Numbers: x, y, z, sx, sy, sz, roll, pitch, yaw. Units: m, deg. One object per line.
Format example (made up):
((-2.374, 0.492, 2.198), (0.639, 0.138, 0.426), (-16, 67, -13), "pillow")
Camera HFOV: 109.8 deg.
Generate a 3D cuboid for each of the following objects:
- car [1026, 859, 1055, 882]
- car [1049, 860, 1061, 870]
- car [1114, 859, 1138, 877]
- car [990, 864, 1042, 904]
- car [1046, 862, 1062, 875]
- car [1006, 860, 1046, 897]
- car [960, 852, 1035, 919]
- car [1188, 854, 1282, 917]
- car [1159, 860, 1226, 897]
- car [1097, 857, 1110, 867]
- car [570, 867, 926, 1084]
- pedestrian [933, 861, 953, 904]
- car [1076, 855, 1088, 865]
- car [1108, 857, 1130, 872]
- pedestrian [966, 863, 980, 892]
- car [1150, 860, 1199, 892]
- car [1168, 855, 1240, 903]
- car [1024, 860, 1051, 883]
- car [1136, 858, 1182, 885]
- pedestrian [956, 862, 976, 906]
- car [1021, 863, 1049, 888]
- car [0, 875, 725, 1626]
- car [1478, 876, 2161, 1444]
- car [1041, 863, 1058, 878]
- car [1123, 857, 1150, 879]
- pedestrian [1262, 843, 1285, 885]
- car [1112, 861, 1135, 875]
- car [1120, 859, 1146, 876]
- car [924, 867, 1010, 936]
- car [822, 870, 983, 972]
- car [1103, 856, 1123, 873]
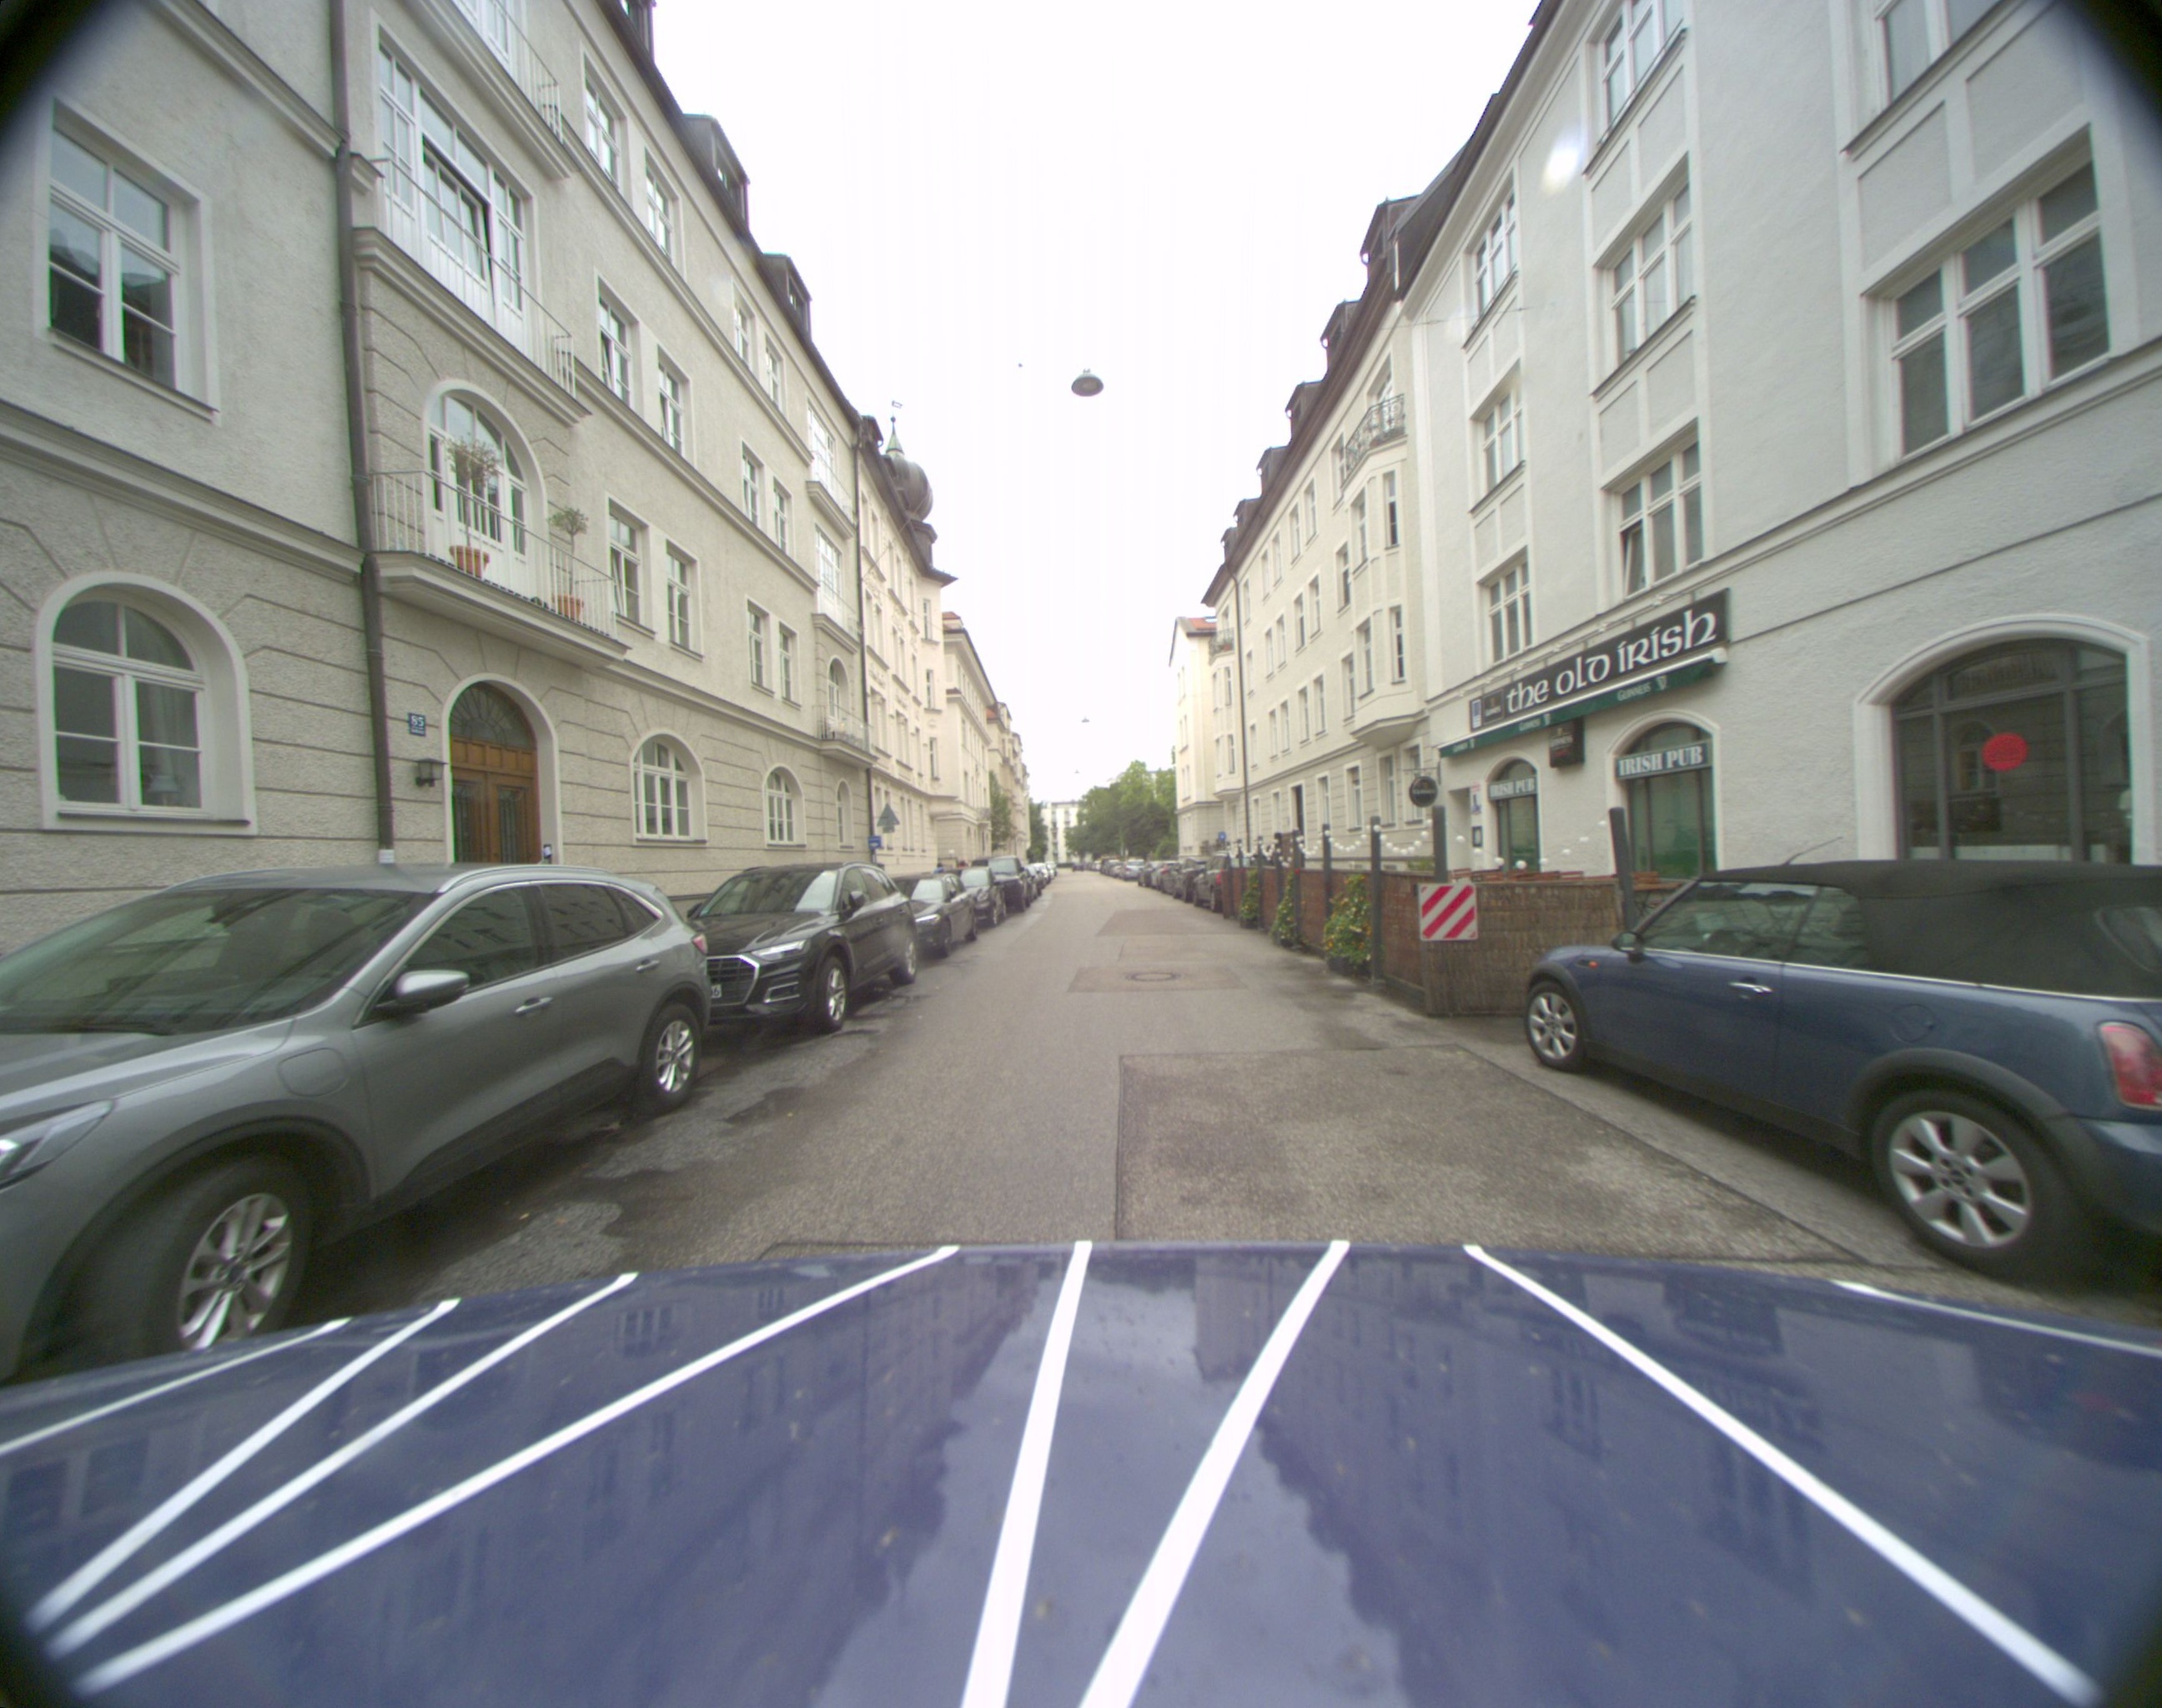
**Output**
((-3.055, 1.279, 58.273), (1.900, 1.626, 4.392), (-3, -1, 0), "car")
((-3.963, 1.664, 114.778), (1.715, 1.462, 4.084), (-4, 0, -4), "car")
((3.980, 1.191, 67.493), (1.802, 1.426, 4.079), (-3, 0, -1), "car")
((-2.629, 1.212, 31.459), (1.668, 1.387, 3.582), (-4, 0, 1), "car")
((-3.321, 1.792, 93.898), (1.646, 1.409, 4.000), (-4, 0, 0), "car")
((-2.627, 1.158, 37.083), (1.712, 1.578, 3.999), (-4, 0, -2), "car")
((-2.666, 0.959, 25.354), (1.916, 1.874, 4.713), (-5, 0, -1), "car")
((4.367, 0.855, 22.207), (1.751, 1.663, 4.275), (0, 0, -2), "car")
((4.584, 0.979, 31.811), (1.816, 1.377, 4.442), (-1, 0, -4), "car")
((3.492, 1.265, 117.311), (1.705, 1.483, 3.955), (-1, 0, -3), "car")
((-3.185, 1.039, 8.429), (1.781, 1.626, 4.376), (-4, 0, 2), "car")
((-5.410, 1.099, 29.789), (0.681, 1.664, 0.654), (0, 0, -3), "pedestrian")
((0.130, 0.954, 123.923), (1.729, 1.525, 4.083), (-3, 1, -3), "car")
((3.945, 1.031, 79.221), (1.773, 1.412, 3.998), (-2, 1, -3), "car")
((-6.283, 1.369, 44.112), (0.684, 1.669, 0.812), (0, 0, -2), "pedestrian")
((4.504, 1.016, 37.225), (1.799, 1.411, 4.510), (0, 0, -1), "car")
((4.268, 0.827, 26.970), (1.746, 1.478, 4.180), (-3, 0, -1), "car")
((-3.059, 1.192, 53.282), (1.713, 1.492, 3.999), (-3, 0, -3), "car")
((4.337, 0.967, 43.093), (1.855, 1.359, 4.701), (-3, 0, -3), "car")
((-4.600, 1.176, 30.433), (0.705, 1.718, 0.703), (-2, 0, -3), "pedestrian")
((-2.911, 1.354, 48.729), (1.616, 1.387, 3.999), (-4, 0, -1), "car")
((-3.541, 1.035, 3.415), (1.794, 1.703, 4.426), (-2, 0, -1), "car")
((3.865, 0.879, 3.934), (1.711, 1.382, 4.001), (-1, 0, 3), "car")
((-3.296, 1.695, 79.051), (1.667, 1.498, 4.064), (-3, -1, -3), "car")
((4.088, 1.009, 56.261), (1.701, 1.571, 4.062), (0, -1, 0), "car")
((7.918, 0.412, 31.230), (0.663, 1.697, 0.701), (-3, 0, 33), "pedestrian")
((4.060, 1.351, 73.630), (1.740, 1.356, 4.192), (-1, 0, -4), "car")
((4.297, 1.124, 63.481), (1.649, 1.394, 3.999), (0, 0, -3), "car")
((-2.900, 1.171, 20.086), (1.659, 1.516, 3.637), (-3, 0, 0), "car")
((-3.059, 1.091, 13.952), (1.710, 1.462, 4.202), (-3, 0, 3), "car")
((3.522, 1.161, 84.816), (1.811, 1.638, 4.485), (-4, 0, -2), "car")
